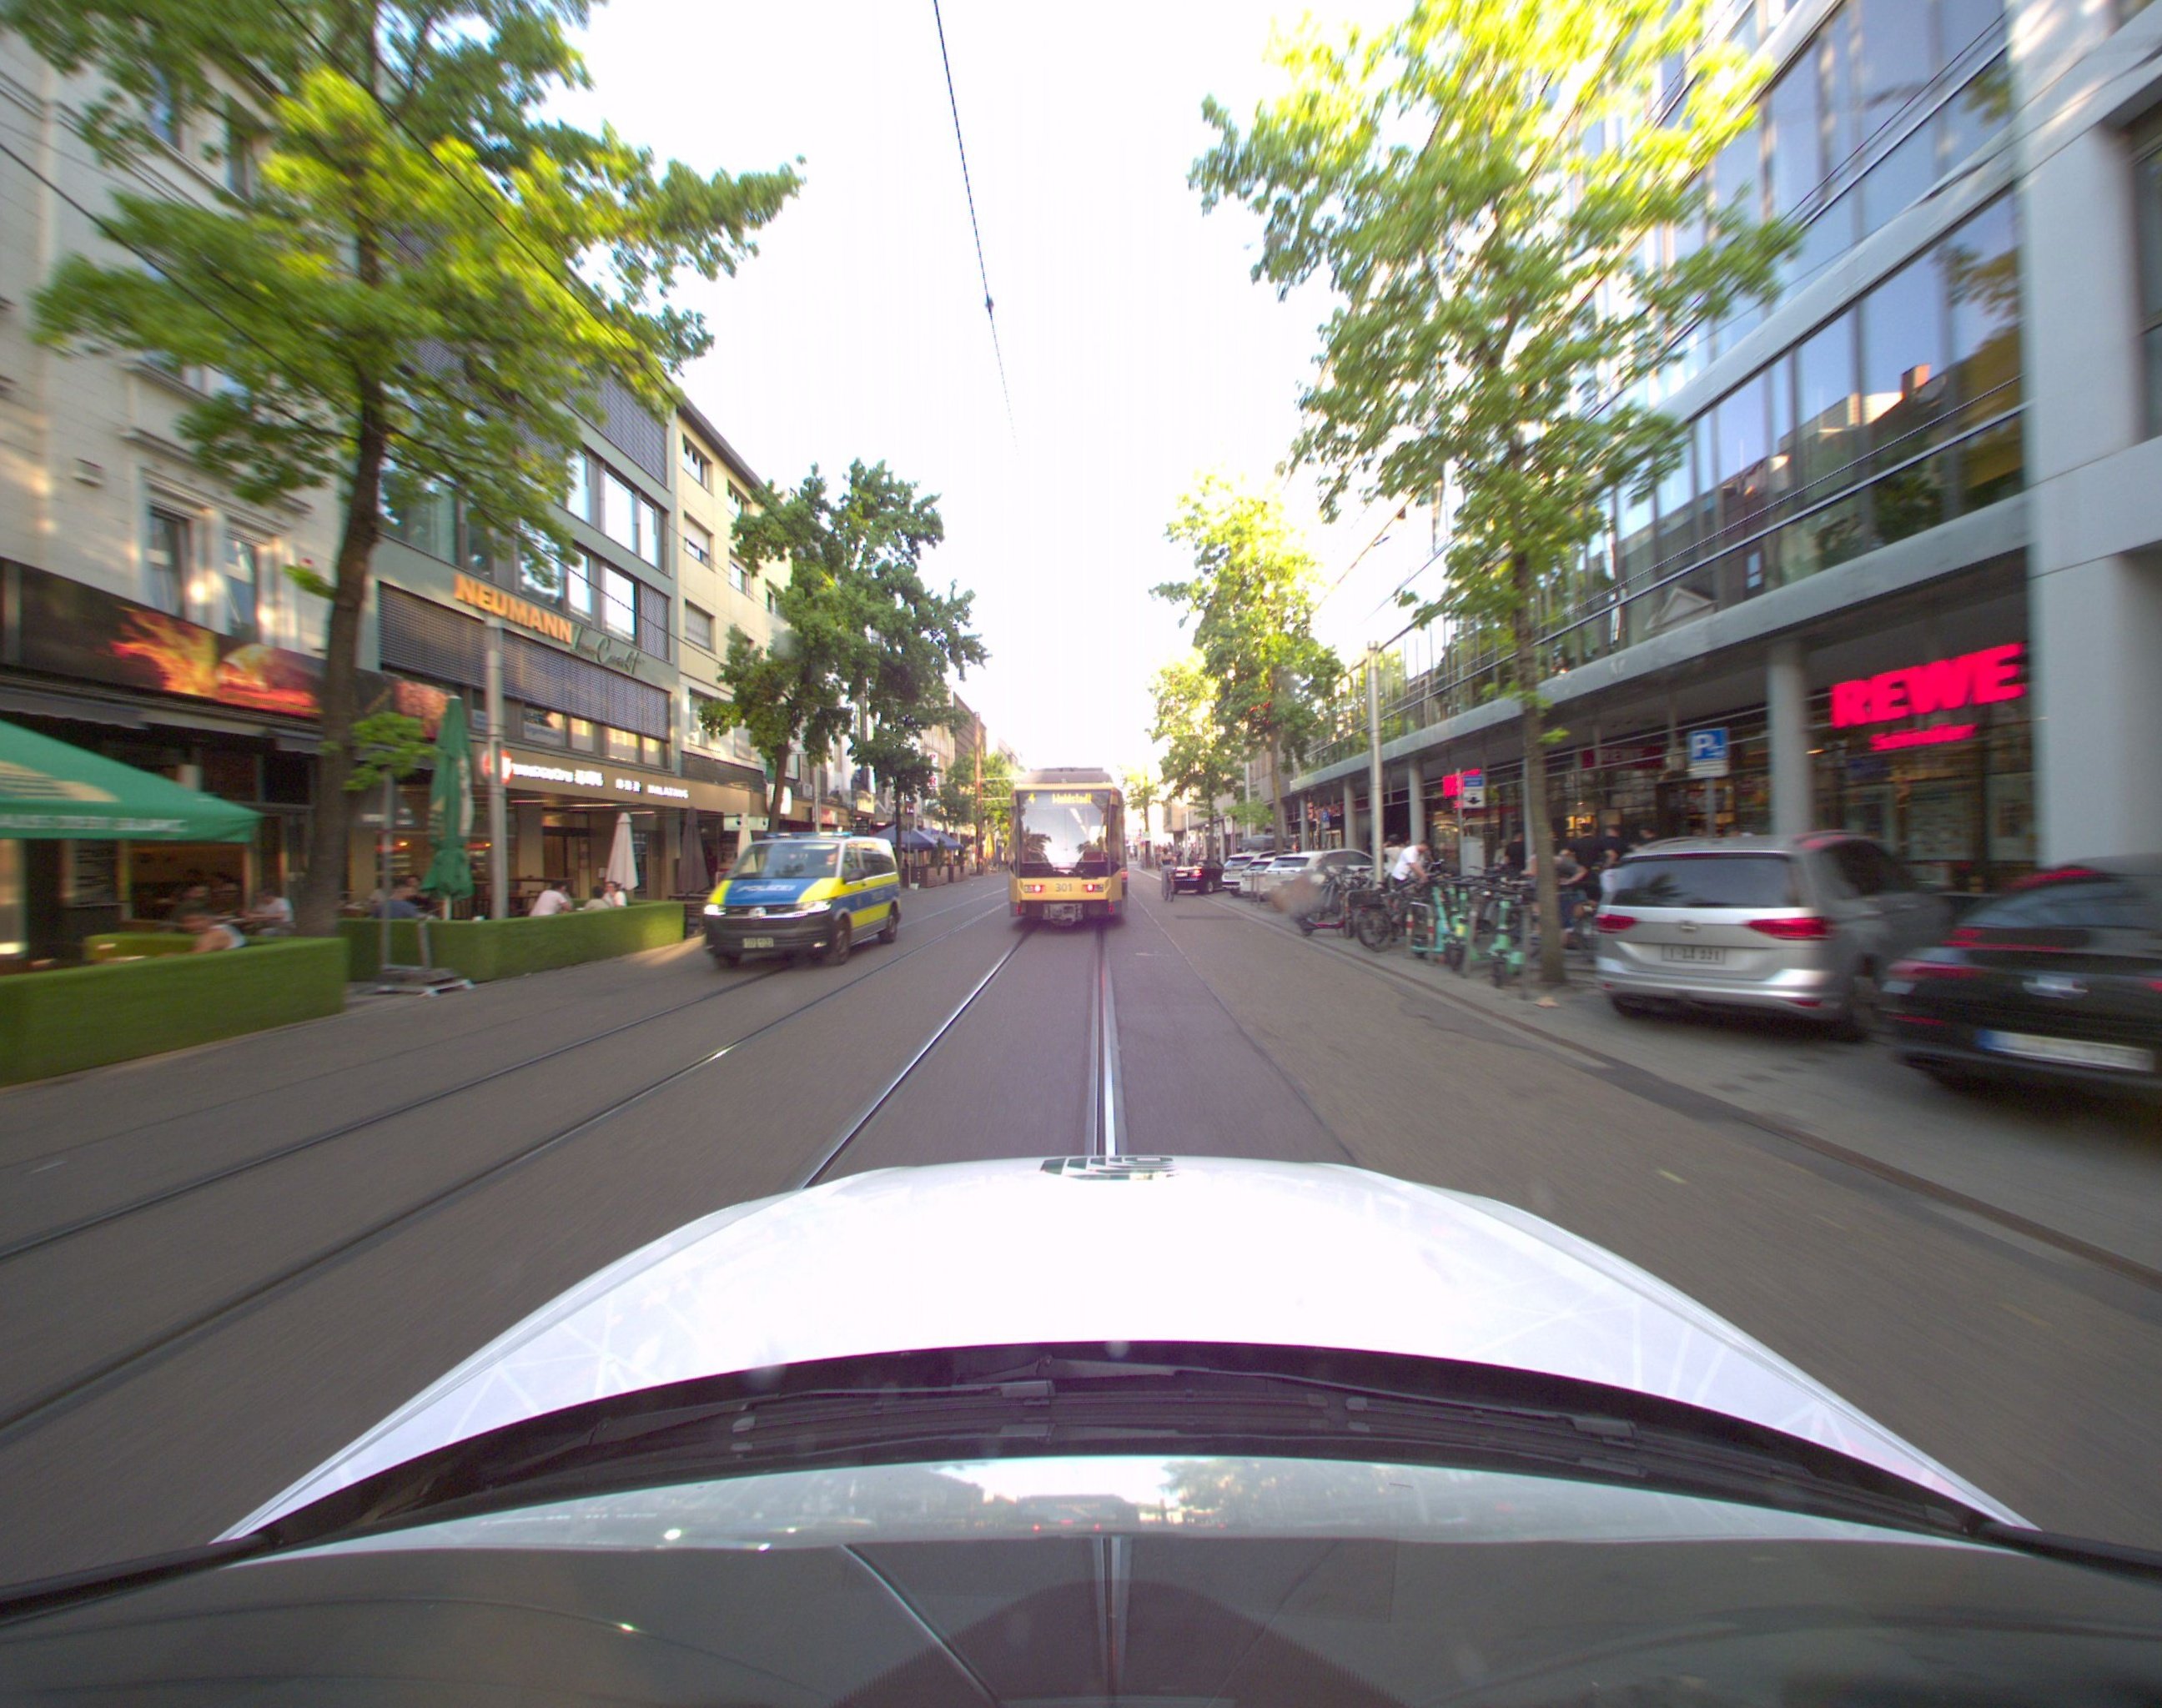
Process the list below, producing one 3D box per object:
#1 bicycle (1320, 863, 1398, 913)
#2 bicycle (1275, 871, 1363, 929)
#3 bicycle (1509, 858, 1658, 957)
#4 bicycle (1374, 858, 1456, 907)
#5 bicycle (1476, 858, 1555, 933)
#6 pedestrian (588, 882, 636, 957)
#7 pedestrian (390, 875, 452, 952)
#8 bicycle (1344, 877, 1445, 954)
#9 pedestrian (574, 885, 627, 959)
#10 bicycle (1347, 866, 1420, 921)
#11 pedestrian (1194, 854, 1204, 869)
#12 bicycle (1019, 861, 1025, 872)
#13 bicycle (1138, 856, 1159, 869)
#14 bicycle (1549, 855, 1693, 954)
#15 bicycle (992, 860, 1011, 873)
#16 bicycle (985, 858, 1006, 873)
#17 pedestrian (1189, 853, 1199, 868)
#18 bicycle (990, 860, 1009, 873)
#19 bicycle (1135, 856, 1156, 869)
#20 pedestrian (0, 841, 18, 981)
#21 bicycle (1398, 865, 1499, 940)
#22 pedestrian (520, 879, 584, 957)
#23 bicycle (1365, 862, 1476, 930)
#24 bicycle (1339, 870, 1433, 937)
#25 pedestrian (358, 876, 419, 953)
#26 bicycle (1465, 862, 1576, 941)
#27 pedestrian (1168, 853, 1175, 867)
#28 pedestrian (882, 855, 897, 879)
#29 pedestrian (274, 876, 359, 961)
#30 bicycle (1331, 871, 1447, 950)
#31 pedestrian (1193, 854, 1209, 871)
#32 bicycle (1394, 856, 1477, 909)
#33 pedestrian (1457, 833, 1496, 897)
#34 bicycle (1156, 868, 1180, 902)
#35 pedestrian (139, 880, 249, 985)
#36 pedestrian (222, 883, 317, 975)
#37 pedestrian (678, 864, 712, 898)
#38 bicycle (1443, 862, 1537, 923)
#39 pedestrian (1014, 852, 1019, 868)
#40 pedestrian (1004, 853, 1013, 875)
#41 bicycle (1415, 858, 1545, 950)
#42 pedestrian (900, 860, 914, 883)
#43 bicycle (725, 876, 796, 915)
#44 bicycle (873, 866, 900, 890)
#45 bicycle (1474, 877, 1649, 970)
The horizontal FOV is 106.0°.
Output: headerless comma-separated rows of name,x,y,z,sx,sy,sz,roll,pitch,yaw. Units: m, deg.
bicycle,6.938,0.834,20.289,1.756,1.117,0.909,-3,0,-34
bicycle,5.125,0.962,17.515,1.755,1.117,0.799,-3,0,-31
bicycle,6.913,0.721,11.239,1.640,1.250,0.645,-3,1,37
bicycle,8.550,0.719,20.854,1.752,1.117,0.928,-3,0,-23
bicycle,7.810,0.712,14.622,1.704,1.189,0.549,-4,1,-37
pedestrian,-8.910,1.239,15.490,0.577,1.378,0.565,-1,-1,1
pedestrian,-12.210,1.087,15.084,0.603,1.378,0.648,-1,-1,1
bicycle,5.140,0.970,13.316,1.754,1.076,0.489,-3,1,-30
pedestrian,-8.544,1.190,14.501,0.549,1.266,0.642,-1,-1,2
bicycle,6.823,0.867,18.354,1.601,1.033,0.548,-6,1,-29
pedestrian,10.609,0.656,73.149,0.803,1.328,0.626,-3,1,1
bicycle,-6.150,1.265,85.289,0.610,1.126,2.248,2,-1,-4
bicycle,7.709,0.997,92.740,2.323,1.472,0.790,-1,-1,-3
bicycle,7.570,0.693,11.460,1.574,1.288,0.583,-3,1,40
bicycle,-7.471,1.172,76.826,1.731,1.126,0.612,2,-1,-6
bicycle,-7.888,1.093,75.080,1.798,1.360,0.658,2,-1,-12
pedestrian,10.394,0.631,74.959,0.737,1.328,0.721,-3,1,1
bicycle,-7.928,1.215,79.262,1.729,1.126,0.563,2,-1,-3
bicycle,7.654,0.999,96.832,2.323,1.472,0.790,-1,-1,-3
pedestrian,-13.866,0.716,9.994,0.656,1.766,0.761,0,-1,-17
bicycle,6.384,0.814,14.125,1.687,1.138,0.475,-4,1,-19
pedestrian,-9.408,1.121,14.508,0.641,1.346,0.731,-1,-1,2
bicycle,6.686,0.797,16.020,1.999,1.148,0.694,-4,1,-18
bicycle,5.818,0.905,15.480,1.839,1.076,0.618,-4,1,-31
pedestrian,-12.892,1.108,15.172,0.535,1.378,0.679,-1,-1,1
bicycle,7.304,0.767,13.537,1.693,1.149,0.499,-4,1,-15
pedestrian,10.822,0.695,97.037,0.698,1.684,0.680,-3,1,1
pedestrian,-10.318,0.684,43.833,0.601,1.256,0.561,2,-1,3
pedestrian,-12.844,1.060,13.705,0.688,1.378,0.766,-1,-1,1
bicycle,5.235,0.923,13.801,1.999,1.130,0.674,-4,1,-30
pedestrian,10.221,0.735,69.382,1.108,1.328,0.927,-3,0,1
bicycle,8.347,0.652,19.164,1.796,1.117,0.836,-3,0,-29
pedestrian,10.786,0.280,22.230,0.677,1.699,0.806,-1,1,0
bicycle,2.901,1.006,27.251,0.653,1.060,2.058,0,0,2
pedestrian,-12.280,1.065,11.296,0.652,1.378,0.766,-1,-1,1
pedestrian,-12.308,1.119,12.373,0.652,1.331,0.766,-1,-1,1
pedestrian,-13.225,0.917,27.904,0.775,1.095,0.729,2,-1,1
bicycle,8.297,0.751,16.508,1.839,1.094,0.816,-2,0,-31
pedestrian,-6.786,0.657,85.664,0.550,1.687,0.575,1,-1,-3
pedestrian,-6.408,0.868,72.206,0.749,1.880,0.575,1,-1,-3
bicycle,6.276,0.753,12.818,1.832,1.273,0.677,-4,1,-18
pedestrian,-9.614,0.942,45.017,0.556,1.256,0.606,2,-1,2
bicycle,-9.559,1.209,24.383,0.605,1.068,2.032,-1,0,30
bicycle,-9.484,1.162,39.639,0.815,1.103,2.148,-1,0,-25
bicycle,6.283,0.867,10.747,0.633,1.076,1.859,-4,1,-34
